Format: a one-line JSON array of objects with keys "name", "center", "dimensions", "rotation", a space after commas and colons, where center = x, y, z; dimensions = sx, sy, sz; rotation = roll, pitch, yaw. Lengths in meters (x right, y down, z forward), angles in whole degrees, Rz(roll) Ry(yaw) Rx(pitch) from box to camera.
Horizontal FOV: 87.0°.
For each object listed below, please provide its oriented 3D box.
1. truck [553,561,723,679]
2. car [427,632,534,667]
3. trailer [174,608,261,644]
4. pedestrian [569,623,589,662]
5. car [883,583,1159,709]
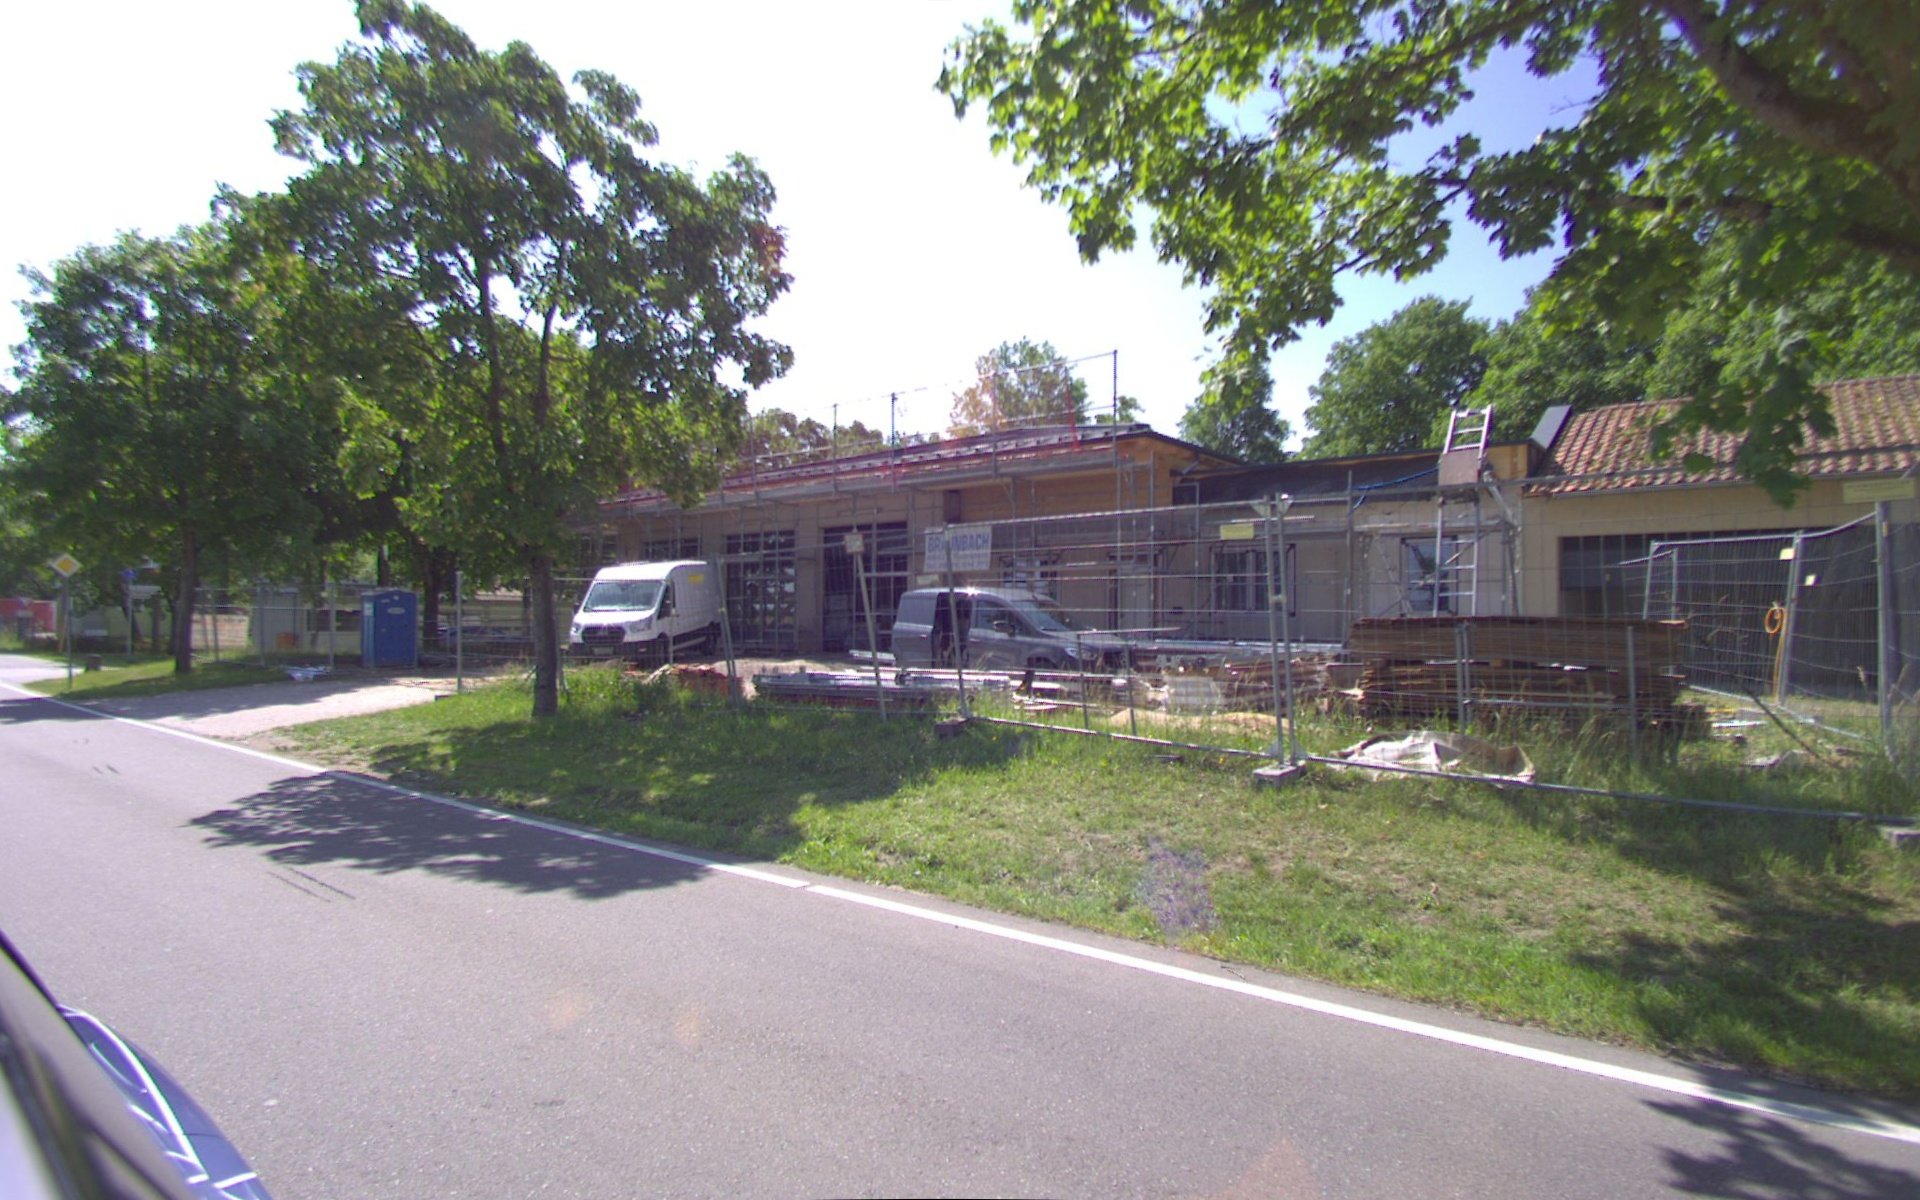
[{"name": "truck", "center": [-7.596, 0.342, 24.657], "dimensions": [1.974, 2.502, 5.927], "rotation": [-1, 2, 3]}, {"name": "car", "center": [-20.444, 2.095, 43.299], "dimensions": [1.754, 1.410, 3.770], "rotation": [-1, -2, 32]}, {"name": "trailer", "center": [-48.175, 1.713, 65.756], "dimensions": [1.819, 2.295, 4.199], "rotation": [-1, -2, 26]}, {"name": "pedestrian", "center": [-17.247, 1.913, 45.796], "dimensions": [0.584, 1.764, 0.599], "rotation": [-1, -2, 31]}, {"name": "car", "center": [0.939, 0.720, 17.008], "dimensions": [4.324, 1.852, 1.951], "rotation": [-1, -1, 40]}]
